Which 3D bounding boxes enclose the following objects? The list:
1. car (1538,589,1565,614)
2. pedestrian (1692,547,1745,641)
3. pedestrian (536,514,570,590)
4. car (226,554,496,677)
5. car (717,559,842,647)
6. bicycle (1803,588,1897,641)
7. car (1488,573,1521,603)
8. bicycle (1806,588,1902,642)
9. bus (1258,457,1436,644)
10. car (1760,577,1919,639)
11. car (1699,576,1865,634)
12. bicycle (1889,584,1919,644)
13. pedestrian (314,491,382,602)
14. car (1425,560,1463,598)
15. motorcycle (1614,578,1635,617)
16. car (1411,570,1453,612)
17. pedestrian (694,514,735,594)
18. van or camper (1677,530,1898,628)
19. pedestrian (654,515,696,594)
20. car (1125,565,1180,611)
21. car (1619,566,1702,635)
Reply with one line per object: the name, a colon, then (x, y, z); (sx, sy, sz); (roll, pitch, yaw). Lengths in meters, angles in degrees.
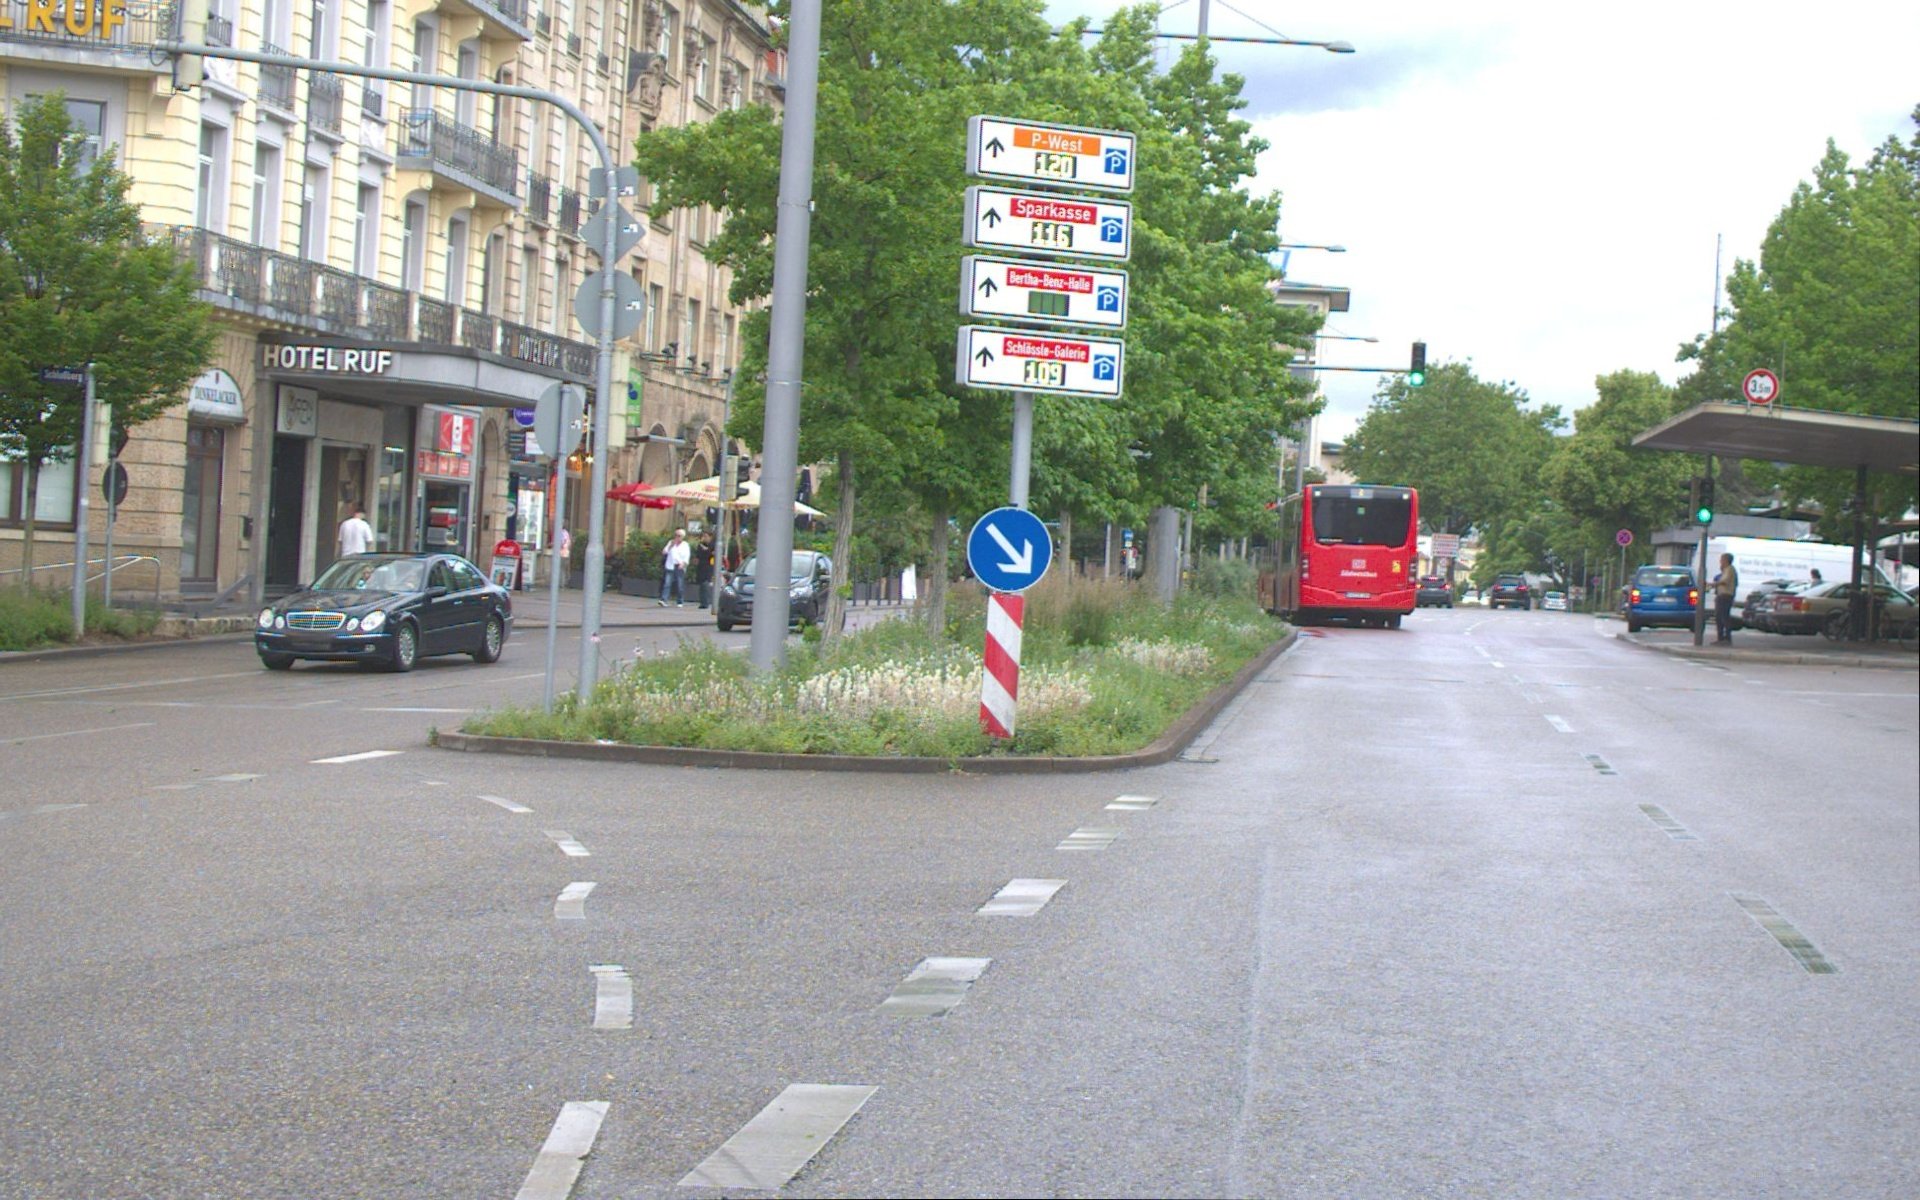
car: (40.415, 0.071, 234.825); (1.645, 1.655, 3.649); (1, 0, 8)
pedestrian: (14.284, -0.104, 64.759); (0.746, 1.741, 0.836); (2, 0, 0)
pedestrian: (-8.986, -1.061, 75.855); (0.666, 1.658, 0.536); (1, 0, -1)
car: (-7.302, 0.176, 42.292); (1.956, 1.418, 3.998); (1, 0, 11)
car: (-3.180, 0.044, 61.265); (1.677, 1.507, 3.863); (1, 0, 5)
bicycle: (17.972, 0.292, 69.416); (1.827, 1.052, 0.420); (1, 0, -10)
car: (28.689, -0.641, 181.180); (1.595, 1.555, 3.649); (1, 0, 8)
bicycle: (17.928, 0.294, 68.939); (1.827, 1.052, 0.420); (1, 0, -10)
bus: (8.793, -1.092, 79.366); (3.545, 3.966, 11.170); (1, 0, 4)
car: (20.855, 0.202, 79.450); (4.184, 1.321, 1.841); (2, 0, -12)
car: (22.420, 0.138, 93.779); (3.985, 1.438, 1.865); (2, 0, -19)
bicycle: (17.314, 0.256, 60.439); (1.828, 1.052, 0.420); (1, 0, 8)
pedestrian: (-10.037, -0.878, 56.404); (0.879, 1.806, 0.750); (1, 0, 7)
car: (26.166, -1.156, 185.959); (1.994, 2.007, 3.999); (1, 0, 8)
motorcycle: (22.602, -0.091, 116.905); (0.595, 1.284, 1.952); (1, 1, 13)
car: (23.449, -0.443, 170.740); (1.994, 2.007, 3.999); (1, 0, 8)
pedestrian: (-5.176, -0.964, 72.447); (0.682, 1.658, 0.807); (1, 0, 8)
van or camper: (23.994, -0.597, 99.666); (5.945, 2.753, 2.199); (1, 0, -19)
pedestrian: (-6.012, -0.960, 72.634); (0.682, 1.658, 0.806); (1, 0, 11)
car: (8.725, -0.536, 155.577); (1.994, 2.007, 4.999); (1, 0, 9)
car: (16.934, 0.030, 83.143); (1.859, 1.564, 3.998); (2, 0, 11)
